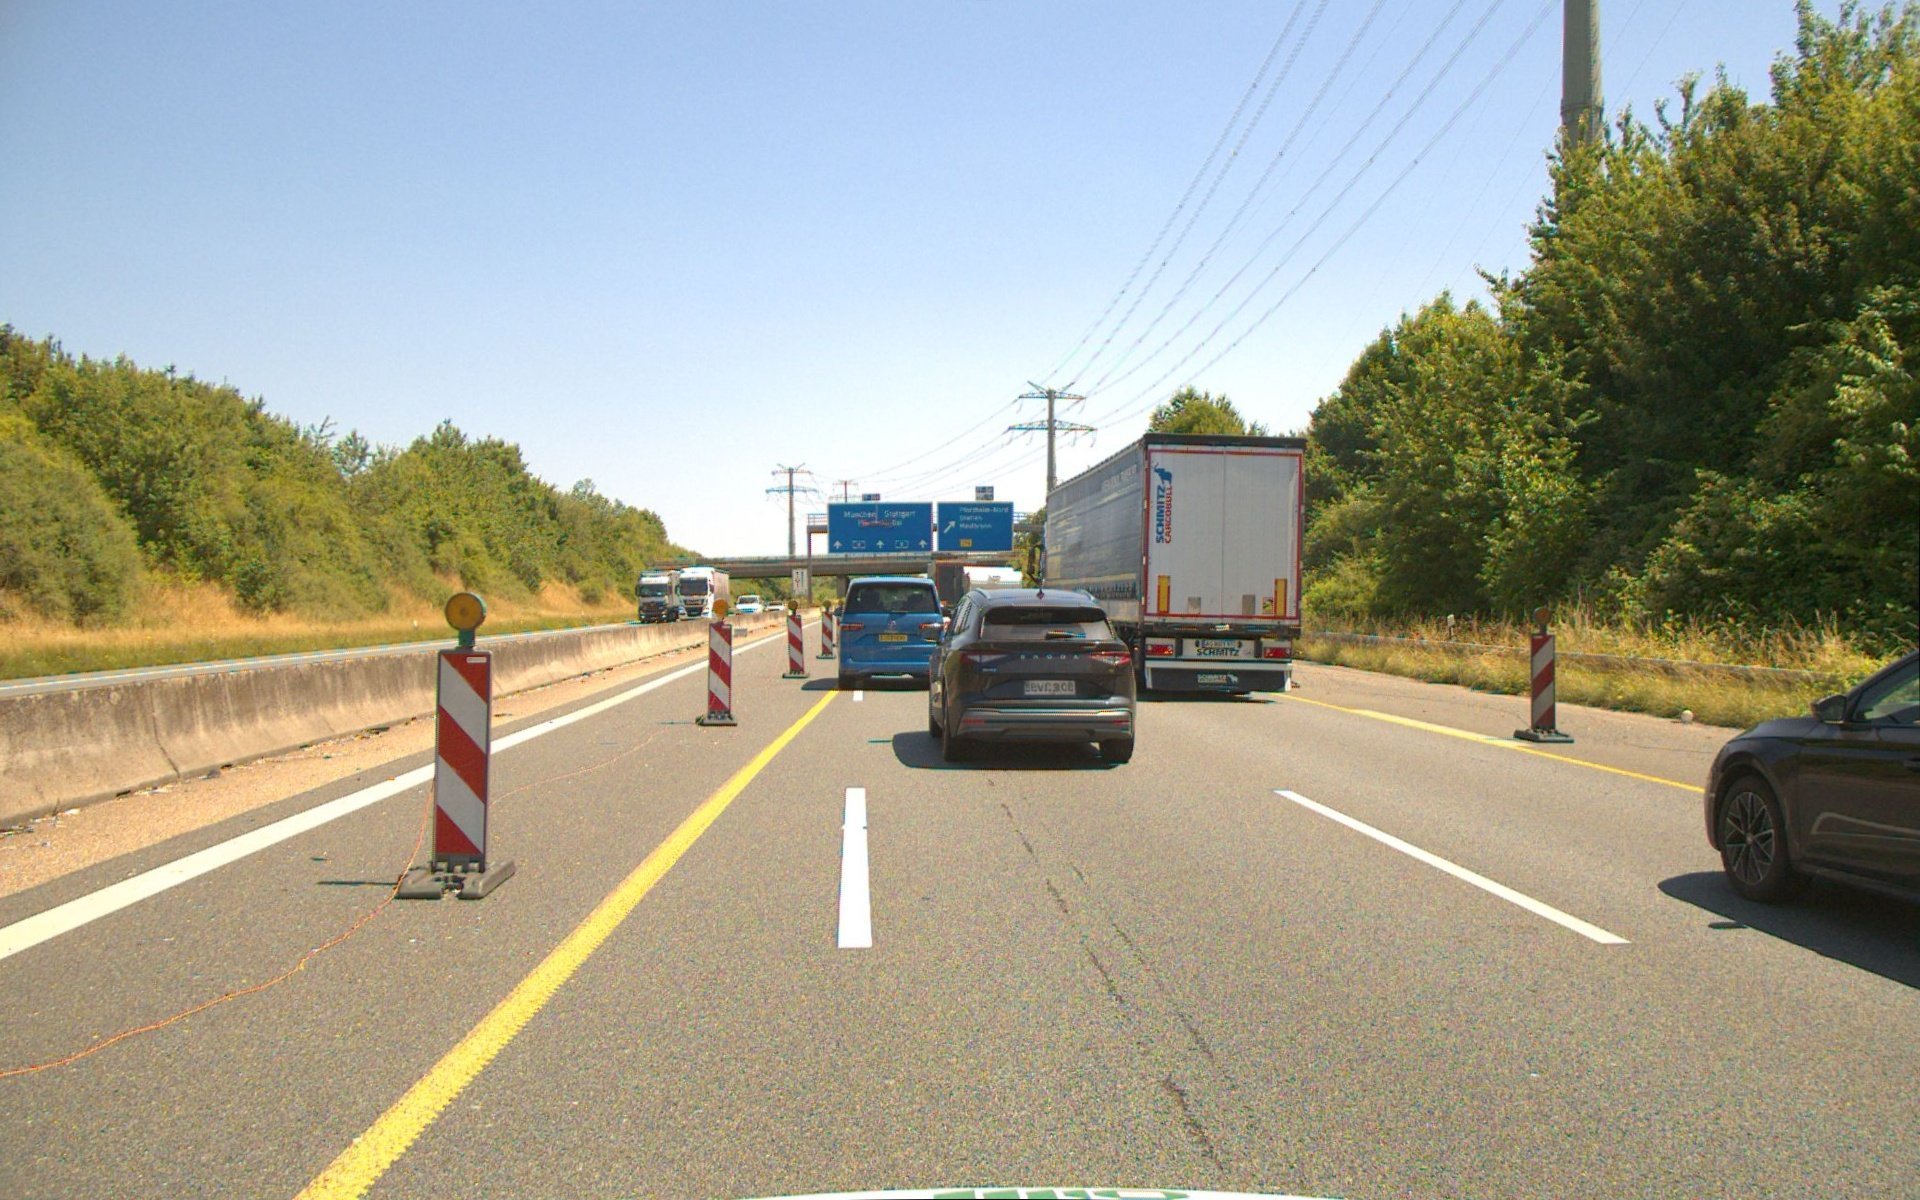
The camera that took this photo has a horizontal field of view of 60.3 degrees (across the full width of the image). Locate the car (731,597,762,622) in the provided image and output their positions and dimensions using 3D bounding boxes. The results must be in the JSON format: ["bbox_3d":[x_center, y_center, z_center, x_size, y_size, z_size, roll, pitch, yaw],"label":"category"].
[{"bbox_3d":[-16.331,0.697,126.982,1.829,1.824,5.453,-1,0,-2],"label":"car"}]

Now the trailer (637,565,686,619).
[{"bbox_3d":[-24.562,-0.615,136.711,2.431,4.253,12.077,-1,0,-3],"label":"trailer"}]

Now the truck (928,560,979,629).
[{"bbox_3d":[-0.515,-0.349,109.626,3.015,4.219,13.049,1,0,-2],"label":"truck"}]

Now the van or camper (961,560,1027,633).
[{"bbox_3d":[1.451,-0.149,72.967,2.534,3.020,6.082,2,0,-2],"label":"van or camper"}]

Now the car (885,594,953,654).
[{"bbox_3d":[-1.287,0.690,50.305,1.858,1.535,4.440,2,2,-4],"label":"car"}]

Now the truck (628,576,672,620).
[{"bbox_3d":[-24.153,-0.145,128.940,2.415,3.345,6.920,-1,0,-3],"label":"truck"}]

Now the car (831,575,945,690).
[{"bbox_3d":[-1.251,0.542,29.725,1.857,1.874,4.441,1,0,-2],"label":"car"}]

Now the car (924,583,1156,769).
[{"bbox_3d":[0.664,0.659,16.826,1.858,1.620,4.439,1,0,-4],"label":"car"}]

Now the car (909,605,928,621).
[{"bbox_3d":[-4.630,1.400,185.166,1.858,1.535,4.440,2,2,-4],"label":"car"}]

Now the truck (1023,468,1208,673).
[{"bbox_3d":[3.338,-0.596,37.674,2.965,4.159,7.789,0,0,-4],"label":"truck"}]

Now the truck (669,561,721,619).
[{"bbox_3d":[-20.533,-0.774,128.387,3.101,4.298,7.410,-1,0,-3],"label":"truck"}]

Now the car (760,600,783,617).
[{"bbox_3d":[-17.728,0.809,155.948,1.726,1.497,4.633,-1,0,-1],"label":"car"}]

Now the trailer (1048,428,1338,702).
[{"bbox_3d":[3.835,-0.530,30.725,3.005,4.113,11.477,0,0,-4],"label":"trailer"}]

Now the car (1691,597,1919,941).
[{"bbox_3d":[5.119,0.762,7.153,1.743,1.515,4.461,1,0,-3],"label":"car"}]
